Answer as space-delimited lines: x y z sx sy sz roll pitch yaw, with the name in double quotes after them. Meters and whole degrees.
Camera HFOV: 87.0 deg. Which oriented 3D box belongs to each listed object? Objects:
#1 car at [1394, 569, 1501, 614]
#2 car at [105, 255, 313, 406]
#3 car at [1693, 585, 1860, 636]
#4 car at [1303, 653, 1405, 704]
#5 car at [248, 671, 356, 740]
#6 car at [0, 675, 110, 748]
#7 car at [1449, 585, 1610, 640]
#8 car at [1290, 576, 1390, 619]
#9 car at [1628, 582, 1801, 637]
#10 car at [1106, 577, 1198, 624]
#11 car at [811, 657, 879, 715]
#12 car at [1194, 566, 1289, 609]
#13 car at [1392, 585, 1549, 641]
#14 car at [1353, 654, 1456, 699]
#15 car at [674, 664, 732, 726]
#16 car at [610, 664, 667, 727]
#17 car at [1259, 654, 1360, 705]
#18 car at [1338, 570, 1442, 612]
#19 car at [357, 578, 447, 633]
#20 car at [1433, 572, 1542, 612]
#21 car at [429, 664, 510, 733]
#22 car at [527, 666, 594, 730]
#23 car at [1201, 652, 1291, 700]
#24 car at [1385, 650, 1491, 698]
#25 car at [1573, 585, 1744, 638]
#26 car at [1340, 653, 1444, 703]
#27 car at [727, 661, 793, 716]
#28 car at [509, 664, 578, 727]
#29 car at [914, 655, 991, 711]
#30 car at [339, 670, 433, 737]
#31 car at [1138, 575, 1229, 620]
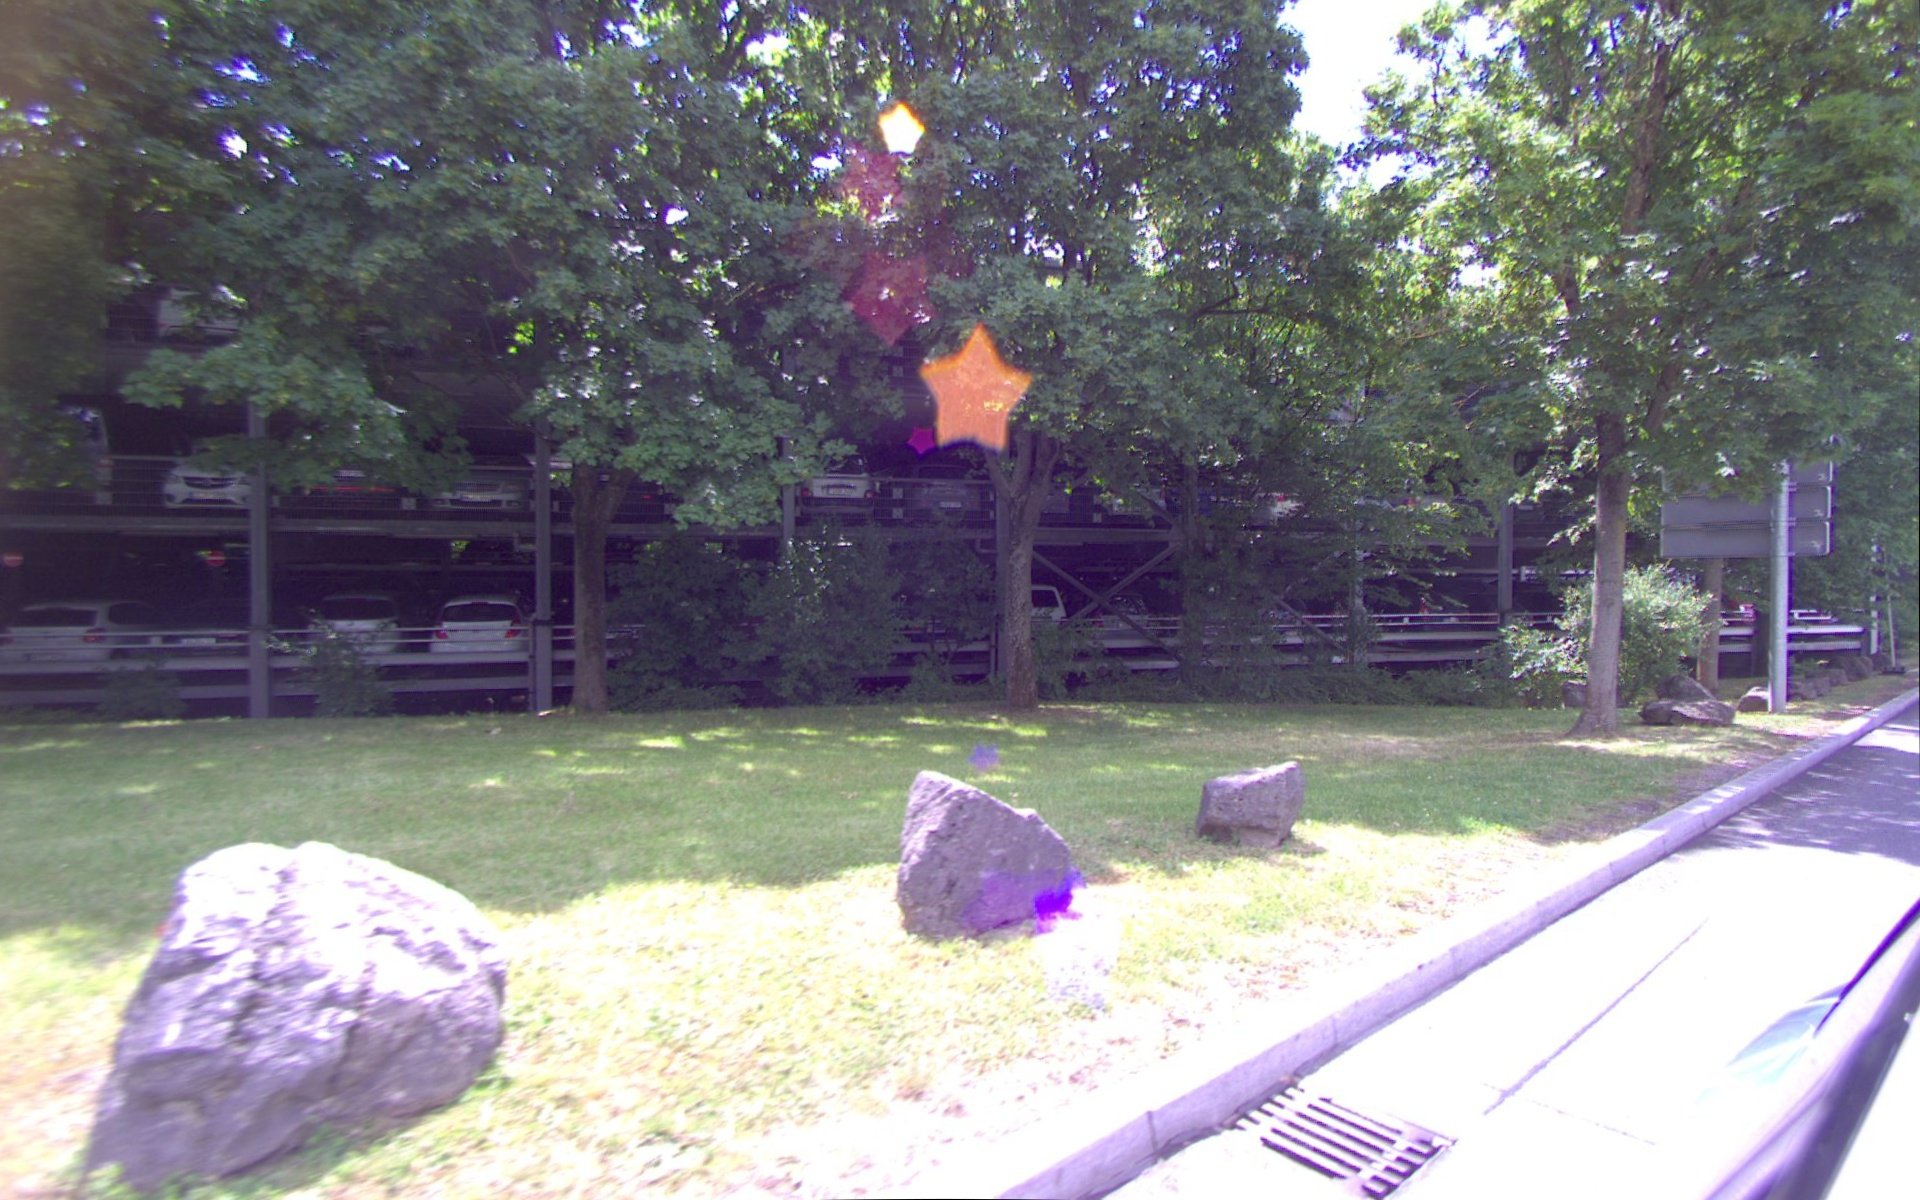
19.857 -0.391 41.421 1.716 1.665 3.867 0 3 -17 "car"
-14.056 -4.969 19.241 1.829 1.683 4.007 -1 -1 -15 "car"
25.025 0.269 31.180 1.624 1.429 3.712 0 1 -16 "car"
15.299 3.019 39.530 1.659 1.464 3.867 0 3 -17 "car"
-18.874 2.969 29.202 1.605 1.387 3.793 0 3 -17 "car"
-24.750 2.937 27.161 1.605 1.387 3.793 0 3 -17 "car"
15.920 0.301 28.507 1.659 1.409 3.866 0 1 -17 "car"
14.939 -0.128 40.003 1.659 1.504 3.867 0 3 -17 "car"
22.763 0.240 30.702 1.798 1.533 3.866 0 1 -17 "car"
6.948 -0.010 36.944 1.659 1.504 3.867 0 3 -17 "car"
-3.952 2.848 34.207 1.605 1.464 3.793 0 3 -17 "car"
10.657 -0.510 38.589 1.659 1.504 3.867 0 3 -17 "car"
14.065 0.309 28.134 1.659 1.409 3.866 0 1 -17 "car"
17.801 3.016 40.709 1.644 1.327 3.867 0 3 -17 "car"
-8.207 2.951 32.130 1.605 1.387 3.793 0 3 -17 "car"
-10.034 2.930 31.700 1.605 1.387 3.793 0 3 -17 "car"
13.386 3.003 38.978 1.659 1.464 3.867 0 3 -17 "car"
17.175 -0.409 40.576 1.716 1.504 3.867 0 3 -17 "car"
-16.237 0.117 29.612 1.561 1.387 3.793 0 3 -17 "car"
21.722 -0.355 41.823 1.716 1.460 3.867 0 3 -17 "car"
-14.539 2.868 30.161 1.605 1.464 3.793 0 3 -17 "car"
-12.142 2.920 30.938 1.605 1.387 3.793 0 3 -17 "car"
10.827 2.859 38.584 1.572 1.351 3.636 0 3 -17 "car"
19.479 2.977 41.432 1.716 1.483 3.867 0 3 -17 "car"
20.461 0.300 29.846 1.775 1.409 3.866 0 1 -17 "car"
17.025 3.031 40.089 1.659 1.464 3.867 0 3 -17 "car"
-6.637 2.864 33.330 1.739 1.349 3.807 0 1 -17 "car"
-12.667 2.852 30.945 1.605 1.387 3.793 0 3 -17 "car"
-0.339 2.862 35.578 1.659 1.464 3.867 0 3 -17 "car"
-16.855 2.981 29.882 1.605 1.387 3.793 0 3 -17 "car"
8.422 -0.117 38.457 1.659 1.504 3.867 0 3 -17 "car"
